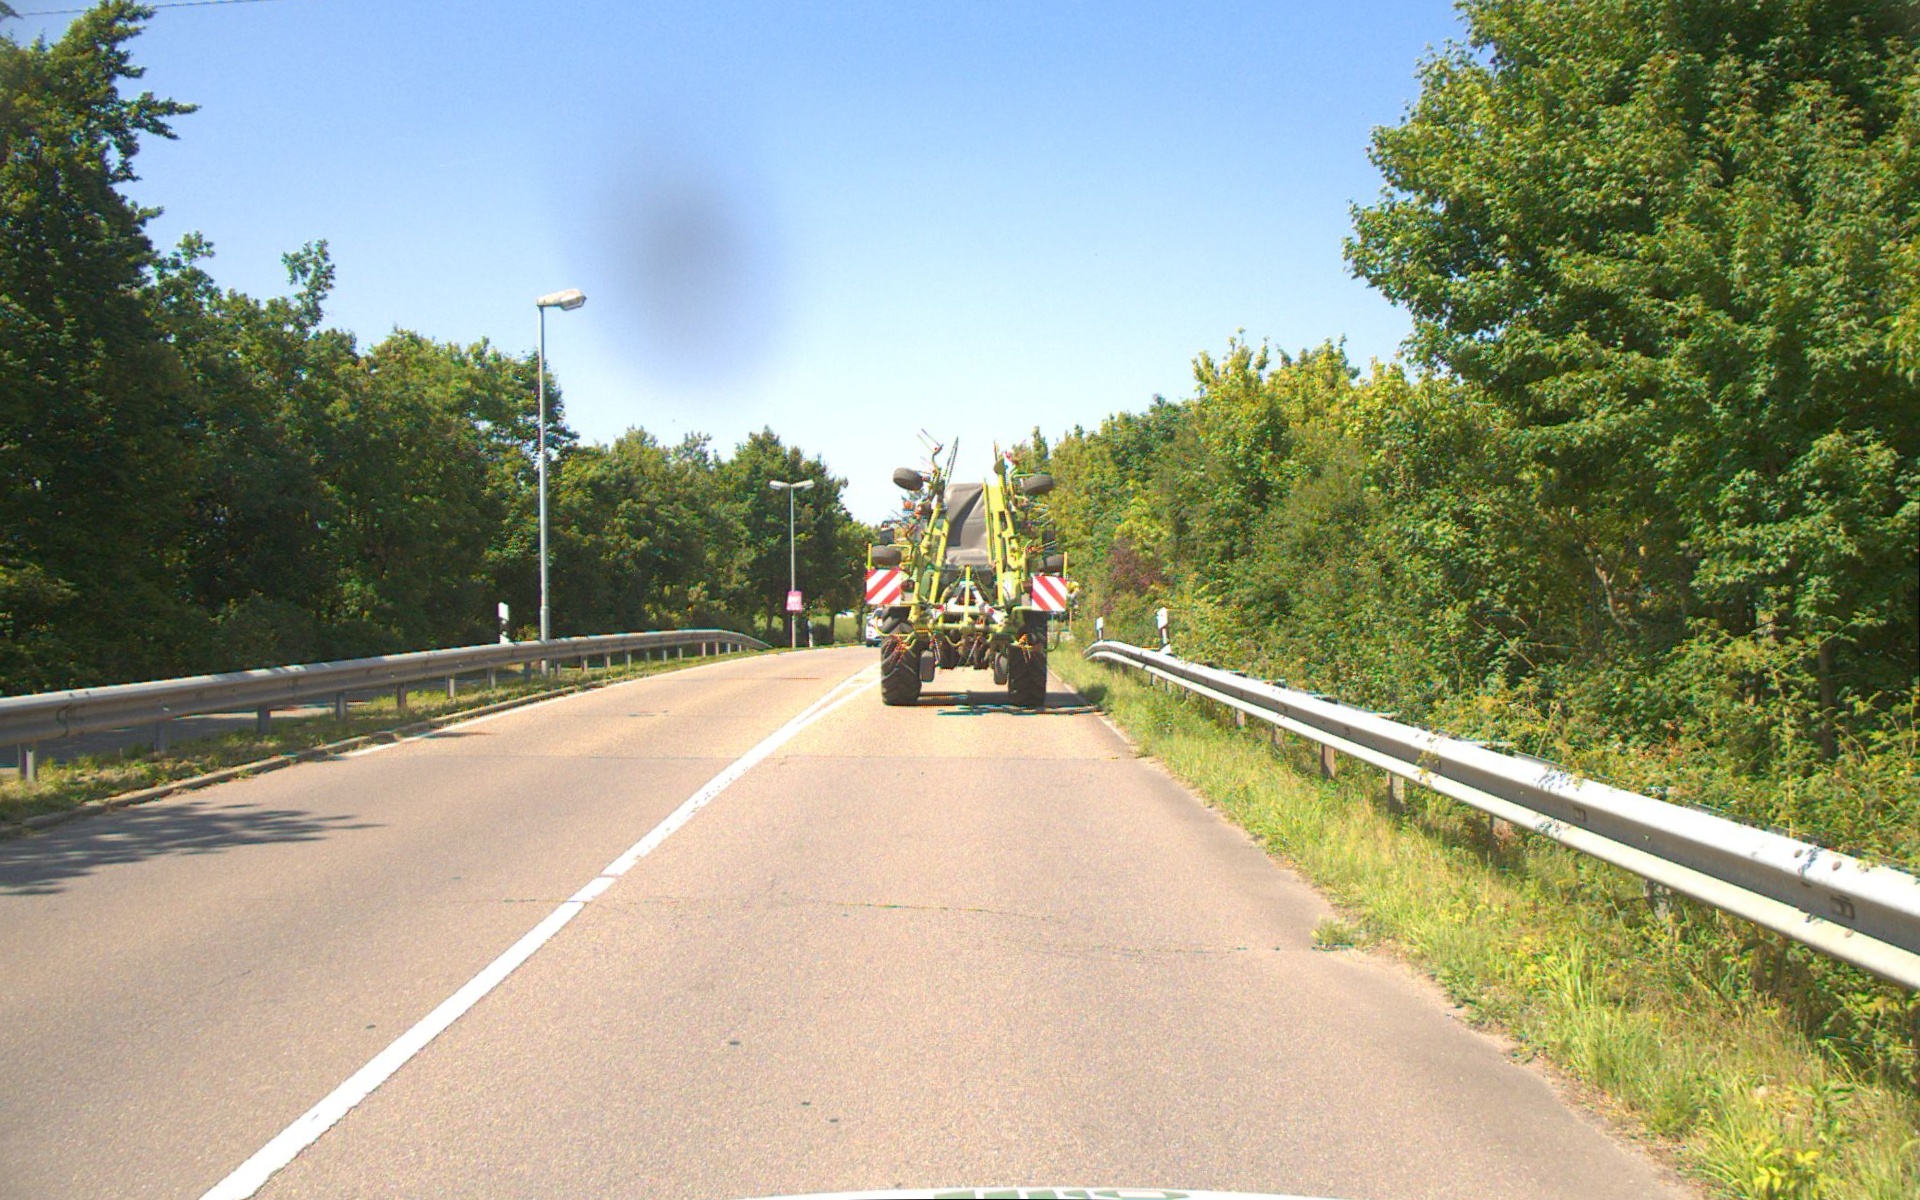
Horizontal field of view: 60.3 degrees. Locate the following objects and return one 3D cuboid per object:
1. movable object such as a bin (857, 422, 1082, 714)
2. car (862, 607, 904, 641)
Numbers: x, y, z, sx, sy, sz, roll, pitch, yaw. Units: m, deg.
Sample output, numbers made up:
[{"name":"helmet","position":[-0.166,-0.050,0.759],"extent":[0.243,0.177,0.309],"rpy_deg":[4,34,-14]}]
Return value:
[{"name":"movable object such as a bin","position":[0.131,-0.397,22.713],"extent":[2.698,3.504,5.670],"rpy_deg":[0,0,0]},{"name":"car","position":[-3.252,1.000,70.545],"extent":[1.704,1.400,3.999],"rpy_deg":[0,0,-2]}]
